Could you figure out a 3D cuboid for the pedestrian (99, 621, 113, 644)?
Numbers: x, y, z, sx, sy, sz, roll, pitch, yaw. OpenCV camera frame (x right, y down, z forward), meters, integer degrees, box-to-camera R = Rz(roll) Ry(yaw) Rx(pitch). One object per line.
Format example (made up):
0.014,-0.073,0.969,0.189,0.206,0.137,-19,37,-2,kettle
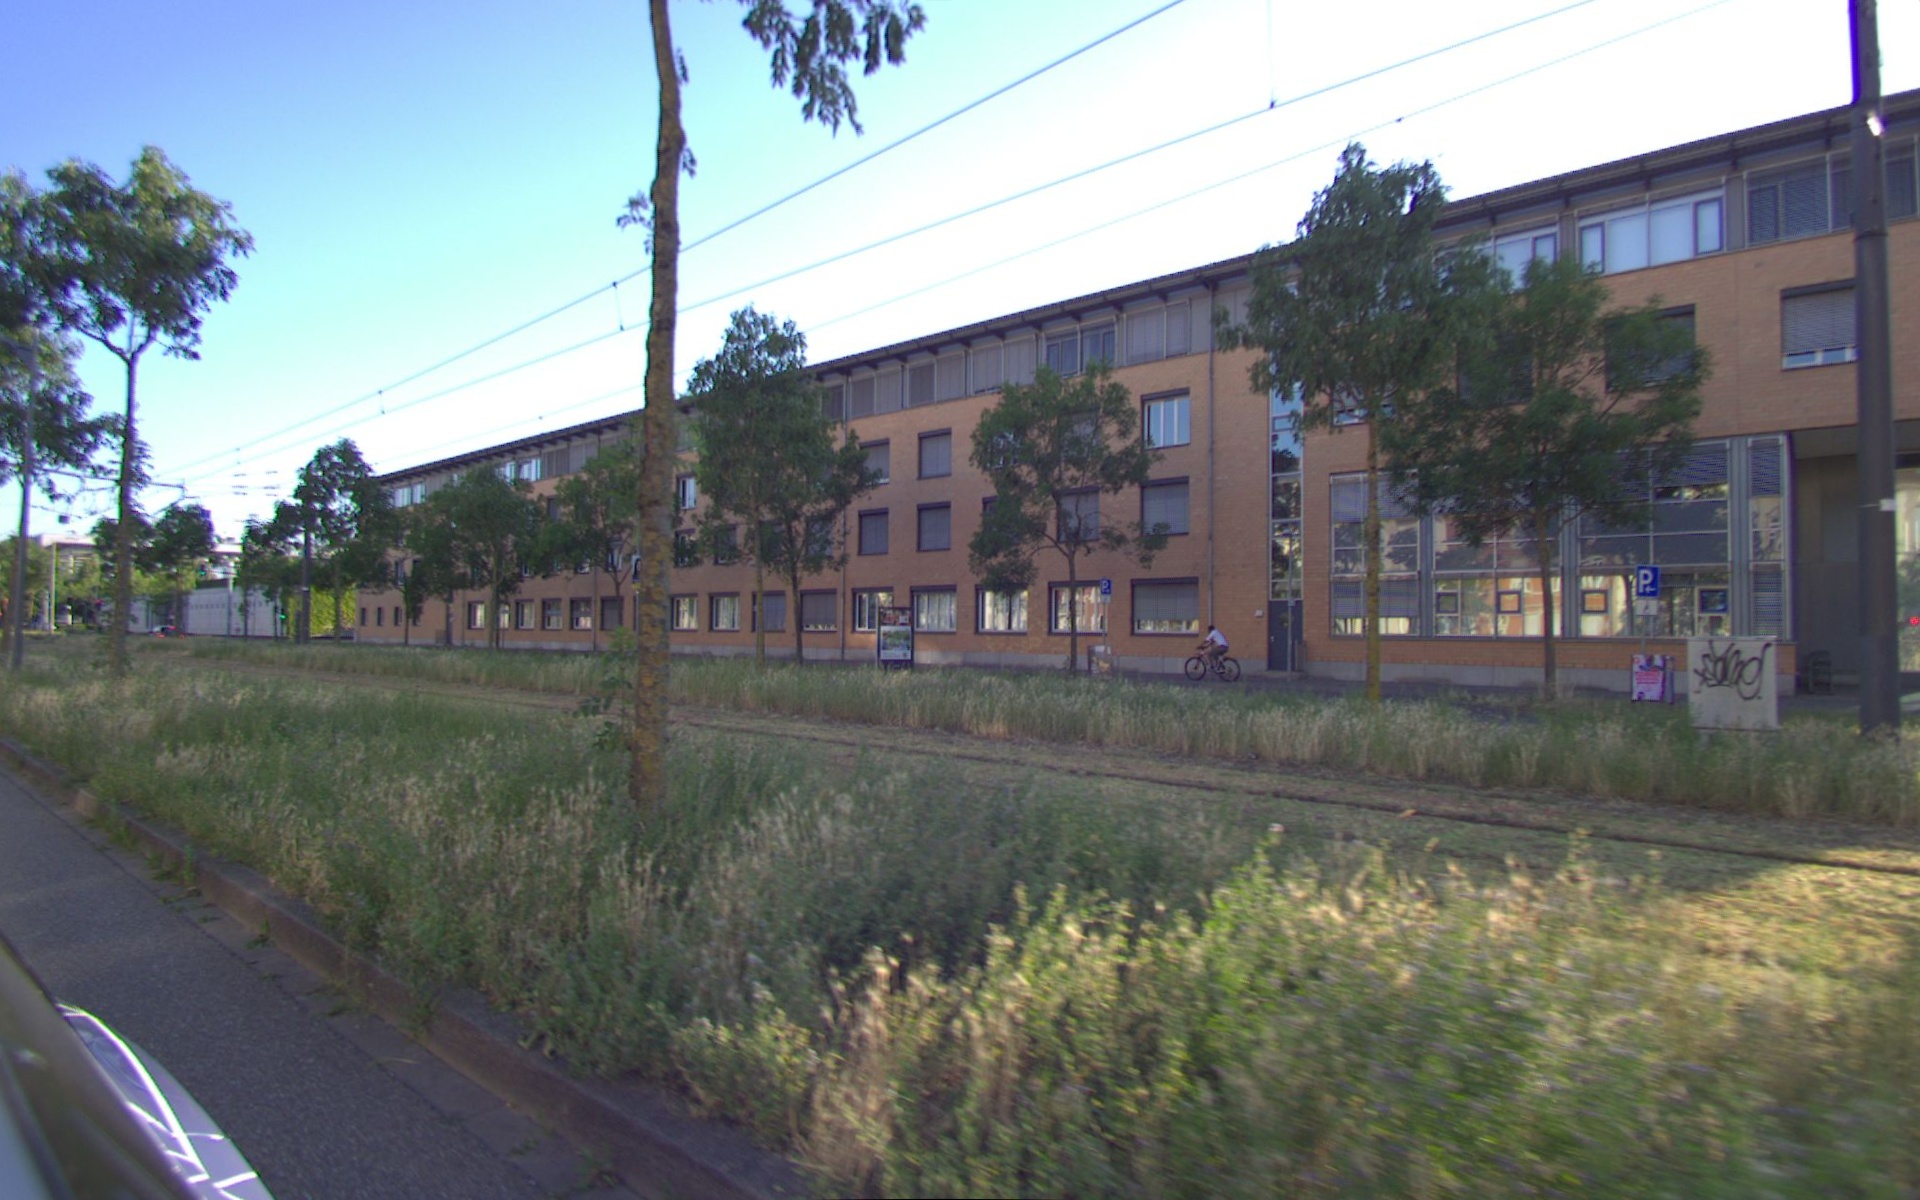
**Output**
-60.901,2.315,72.174,0.543,1.697,0.513,0,-2,9,pedestrian

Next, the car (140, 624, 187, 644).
-55.613,2.344,70.643,3.997,1.386,1.772,-1,-2,41,car

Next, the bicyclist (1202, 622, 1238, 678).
7.943,1.516,30.906,0.825,1.687,0.688,-1,-2,41,bicyclist

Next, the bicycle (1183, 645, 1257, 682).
7.925,1.925,30.922,2.093,1.060,0.702,-1,-2,41,bicycle

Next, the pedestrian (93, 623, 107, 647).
-61.680,2.516,72.574,0.544,1.697,0.512,-2,-2,11,pedestrian

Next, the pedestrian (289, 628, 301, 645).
-52.602,2.894,80.031,0.574,1.378,0.581,-1,-2,35,pedestrian
